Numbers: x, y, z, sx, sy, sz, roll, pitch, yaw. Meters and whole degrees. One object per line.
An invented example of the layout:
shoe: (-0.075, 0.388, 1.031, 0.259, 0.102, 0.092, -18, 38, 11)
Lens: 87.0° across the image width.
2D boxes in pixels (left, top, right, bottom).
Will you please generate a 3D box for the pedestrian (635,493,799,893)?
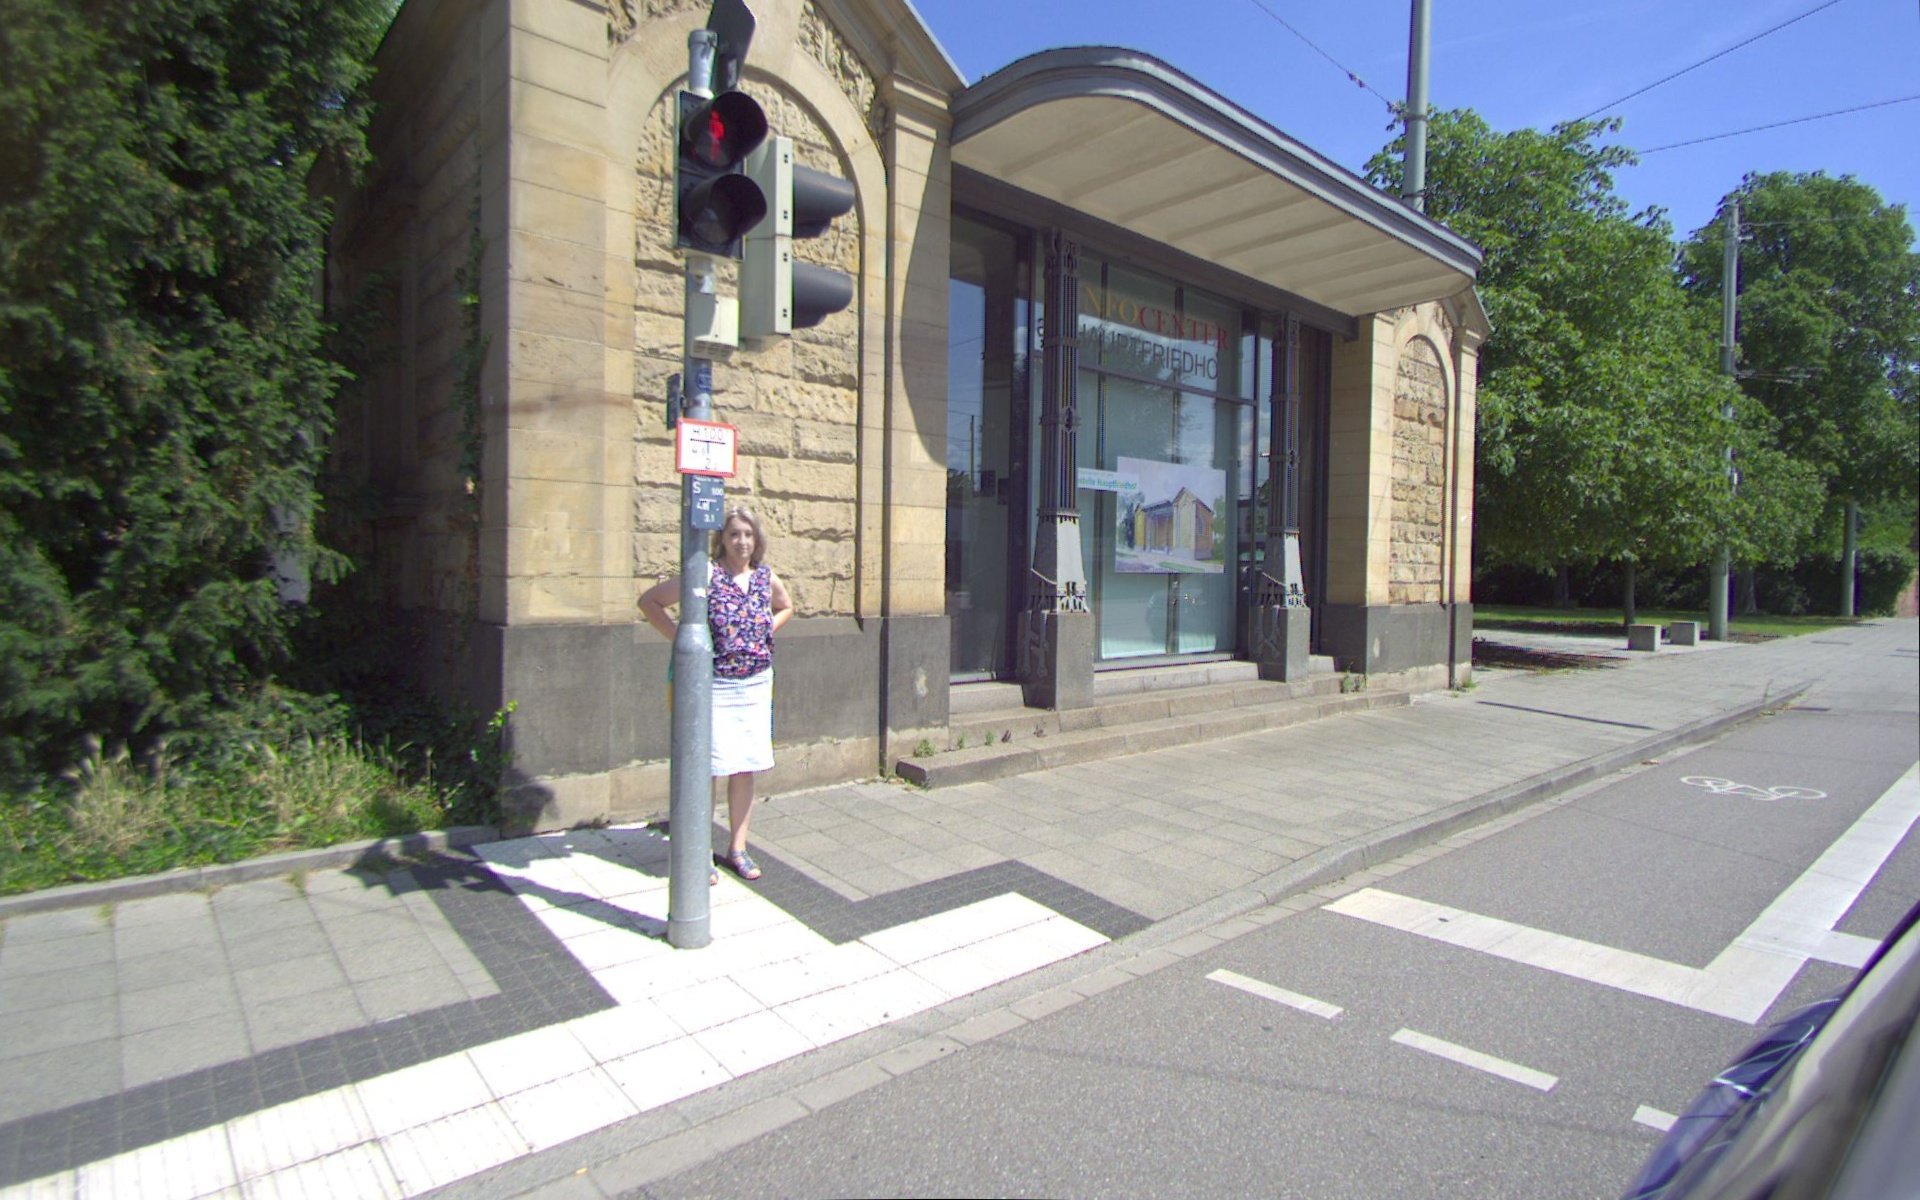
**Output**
pedestrian: (-1.127, 0.383, 4.629, 0.667, 1.686, 0.566, 0, 2, -19)
